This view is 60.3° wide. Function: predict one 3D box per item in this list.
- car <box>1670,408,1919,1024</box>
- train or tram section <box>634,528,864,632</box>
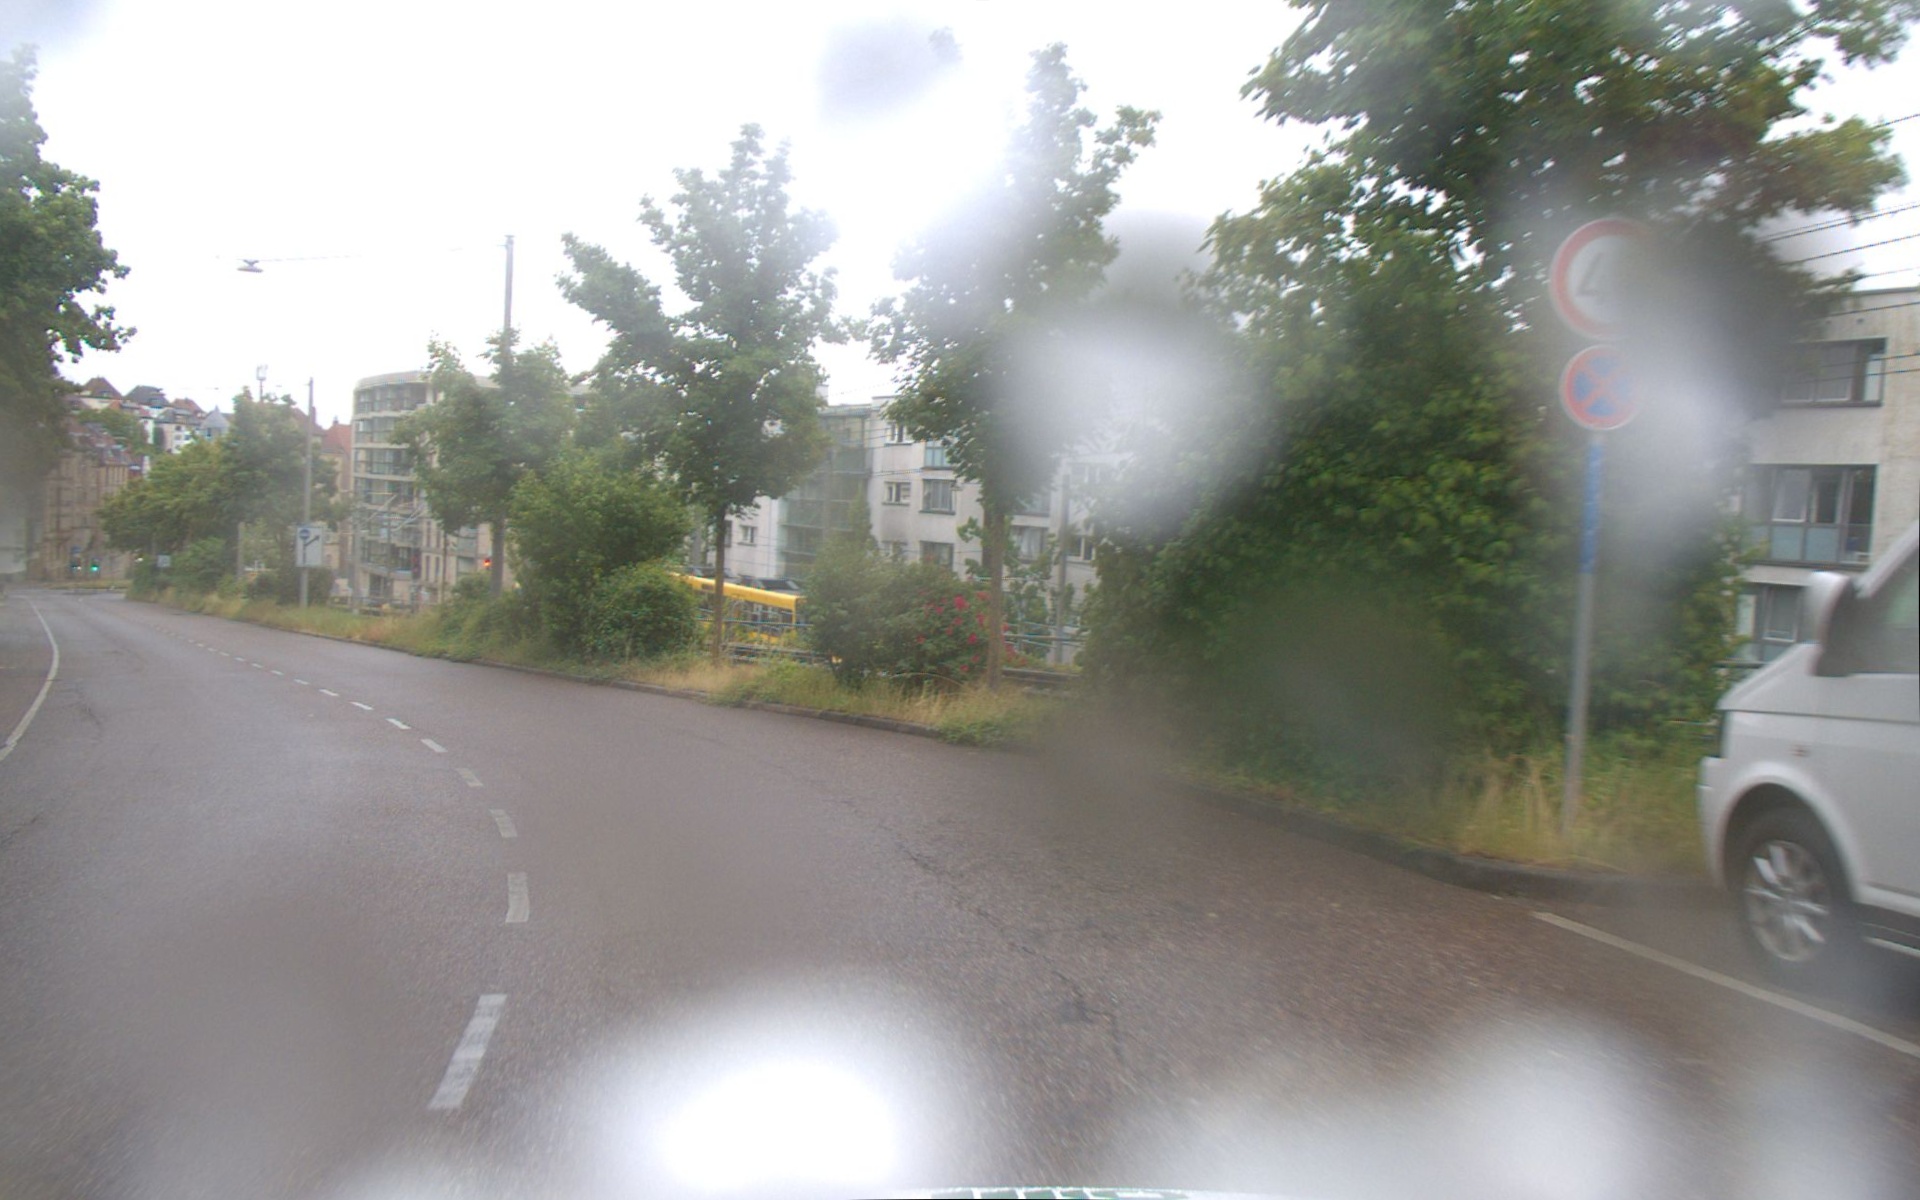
[{"bbox_3d":[4.249,0.386,4.743,1.842,2.049,4.681,0,0,-9],"label":"car"},{"bbox_3d":[-9.885,-0.845,73.358,3.294,4.016,19.094,1,0,-29],"label":"train or tram section"}]
